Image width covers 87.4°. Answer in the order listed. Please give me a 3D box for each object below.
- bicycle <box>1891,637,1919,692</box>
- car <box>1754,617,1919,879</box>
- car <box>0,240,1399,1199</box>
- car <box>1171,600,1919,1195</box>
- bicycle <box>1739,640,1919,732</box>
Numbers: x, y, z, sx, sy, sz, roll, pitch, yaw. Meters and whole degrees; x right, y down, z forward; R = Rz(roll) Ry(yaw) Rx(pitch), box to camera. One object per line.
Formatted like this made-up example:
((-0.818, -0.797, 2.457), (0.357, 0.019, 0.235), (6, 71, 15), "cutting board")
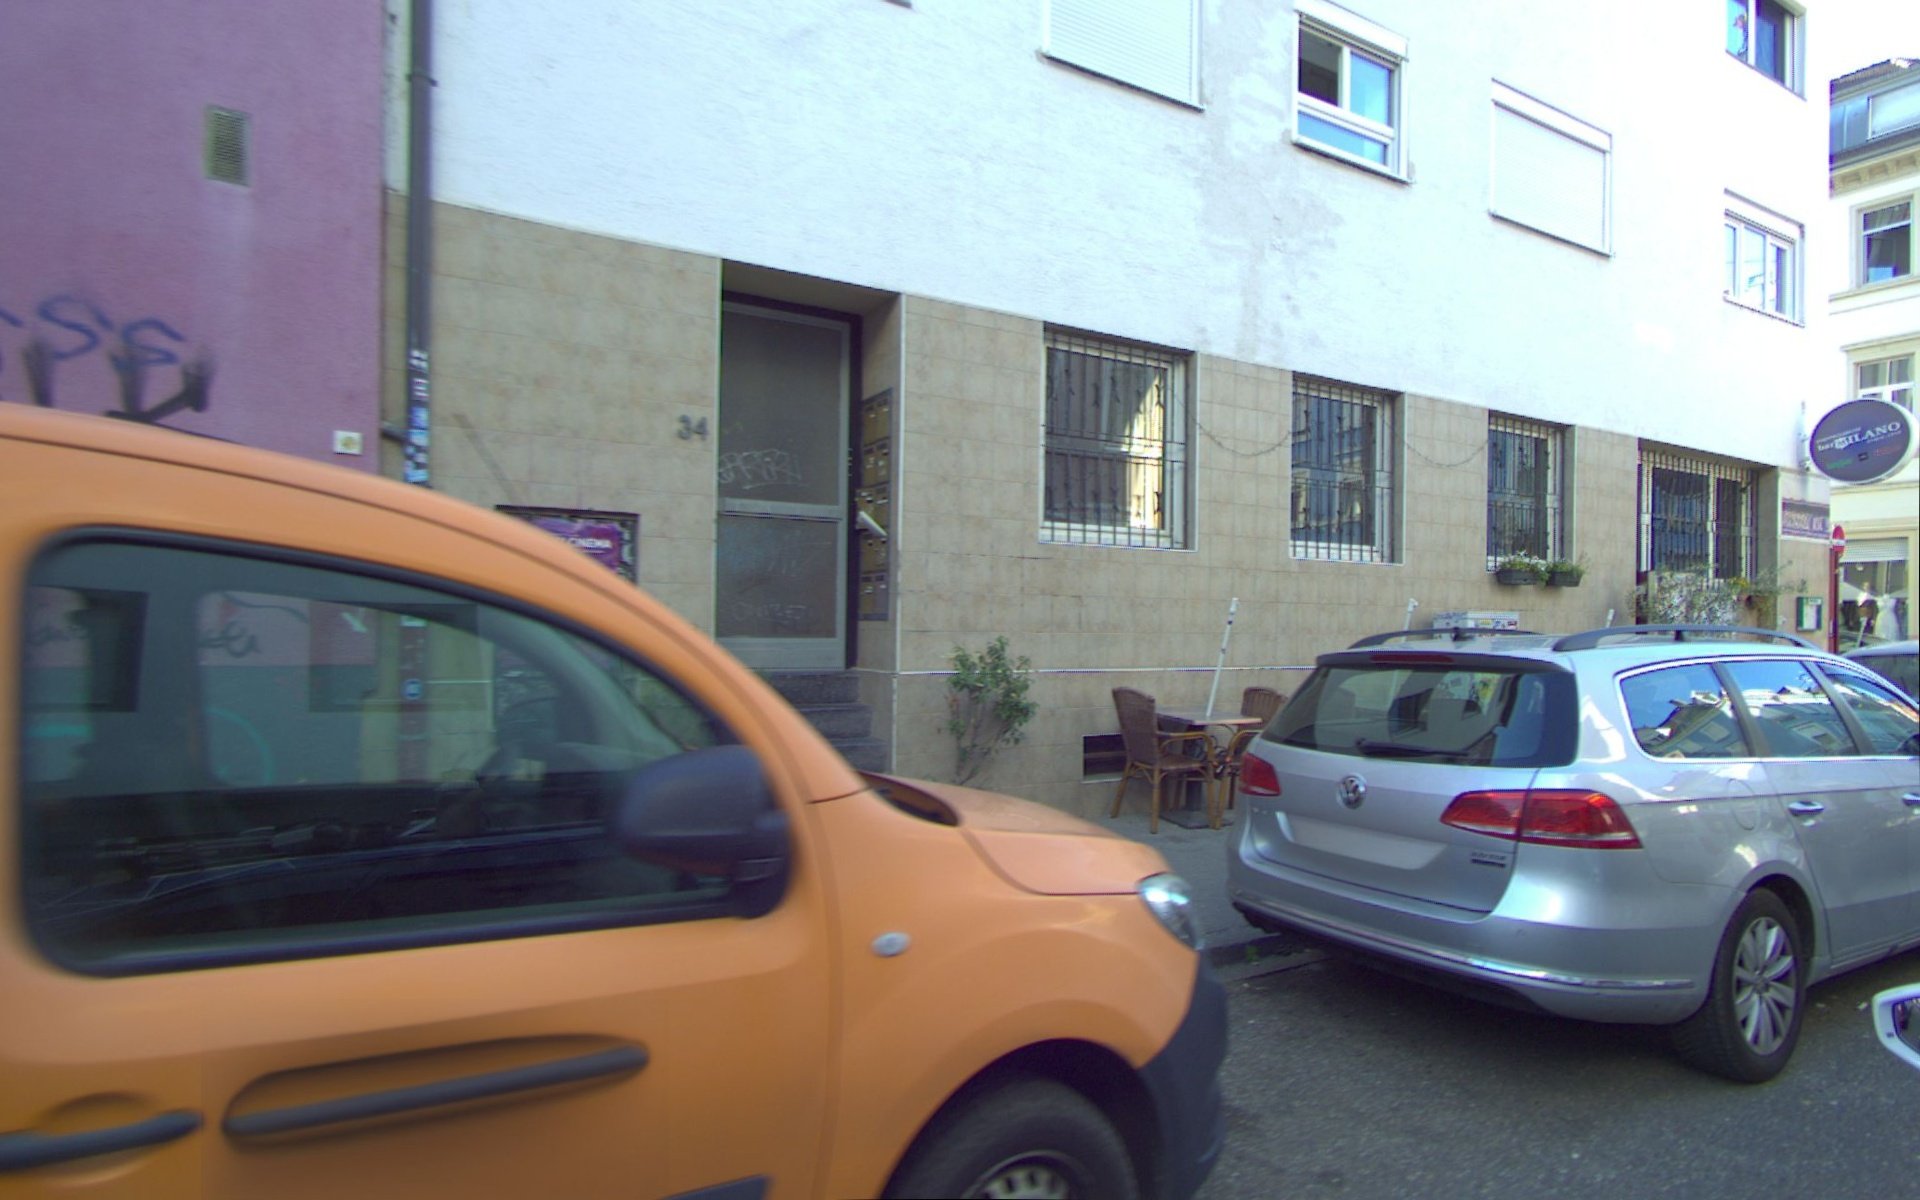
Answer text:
((21.207, 1.413, 21.397), (0.604, 1.164, 1.917), (2, 0, -23), "bicycle")
((7.403, 0.942, 6.999), (3.773, 1.575, 1.669), (2, -3, -30), "car")
((-1.279, 0.583, 1.925), (4.194, 1.869, 1.794), (2, -2, -30), "car")
((3.184, 0.851, 4.447), (4.478, 1.516, 1.666), (2, -3, -30), "car")
((14.745, 1.395, 16.879), (0.917, 1.377, 2.465), (1, -1, -28), "bicycle")
